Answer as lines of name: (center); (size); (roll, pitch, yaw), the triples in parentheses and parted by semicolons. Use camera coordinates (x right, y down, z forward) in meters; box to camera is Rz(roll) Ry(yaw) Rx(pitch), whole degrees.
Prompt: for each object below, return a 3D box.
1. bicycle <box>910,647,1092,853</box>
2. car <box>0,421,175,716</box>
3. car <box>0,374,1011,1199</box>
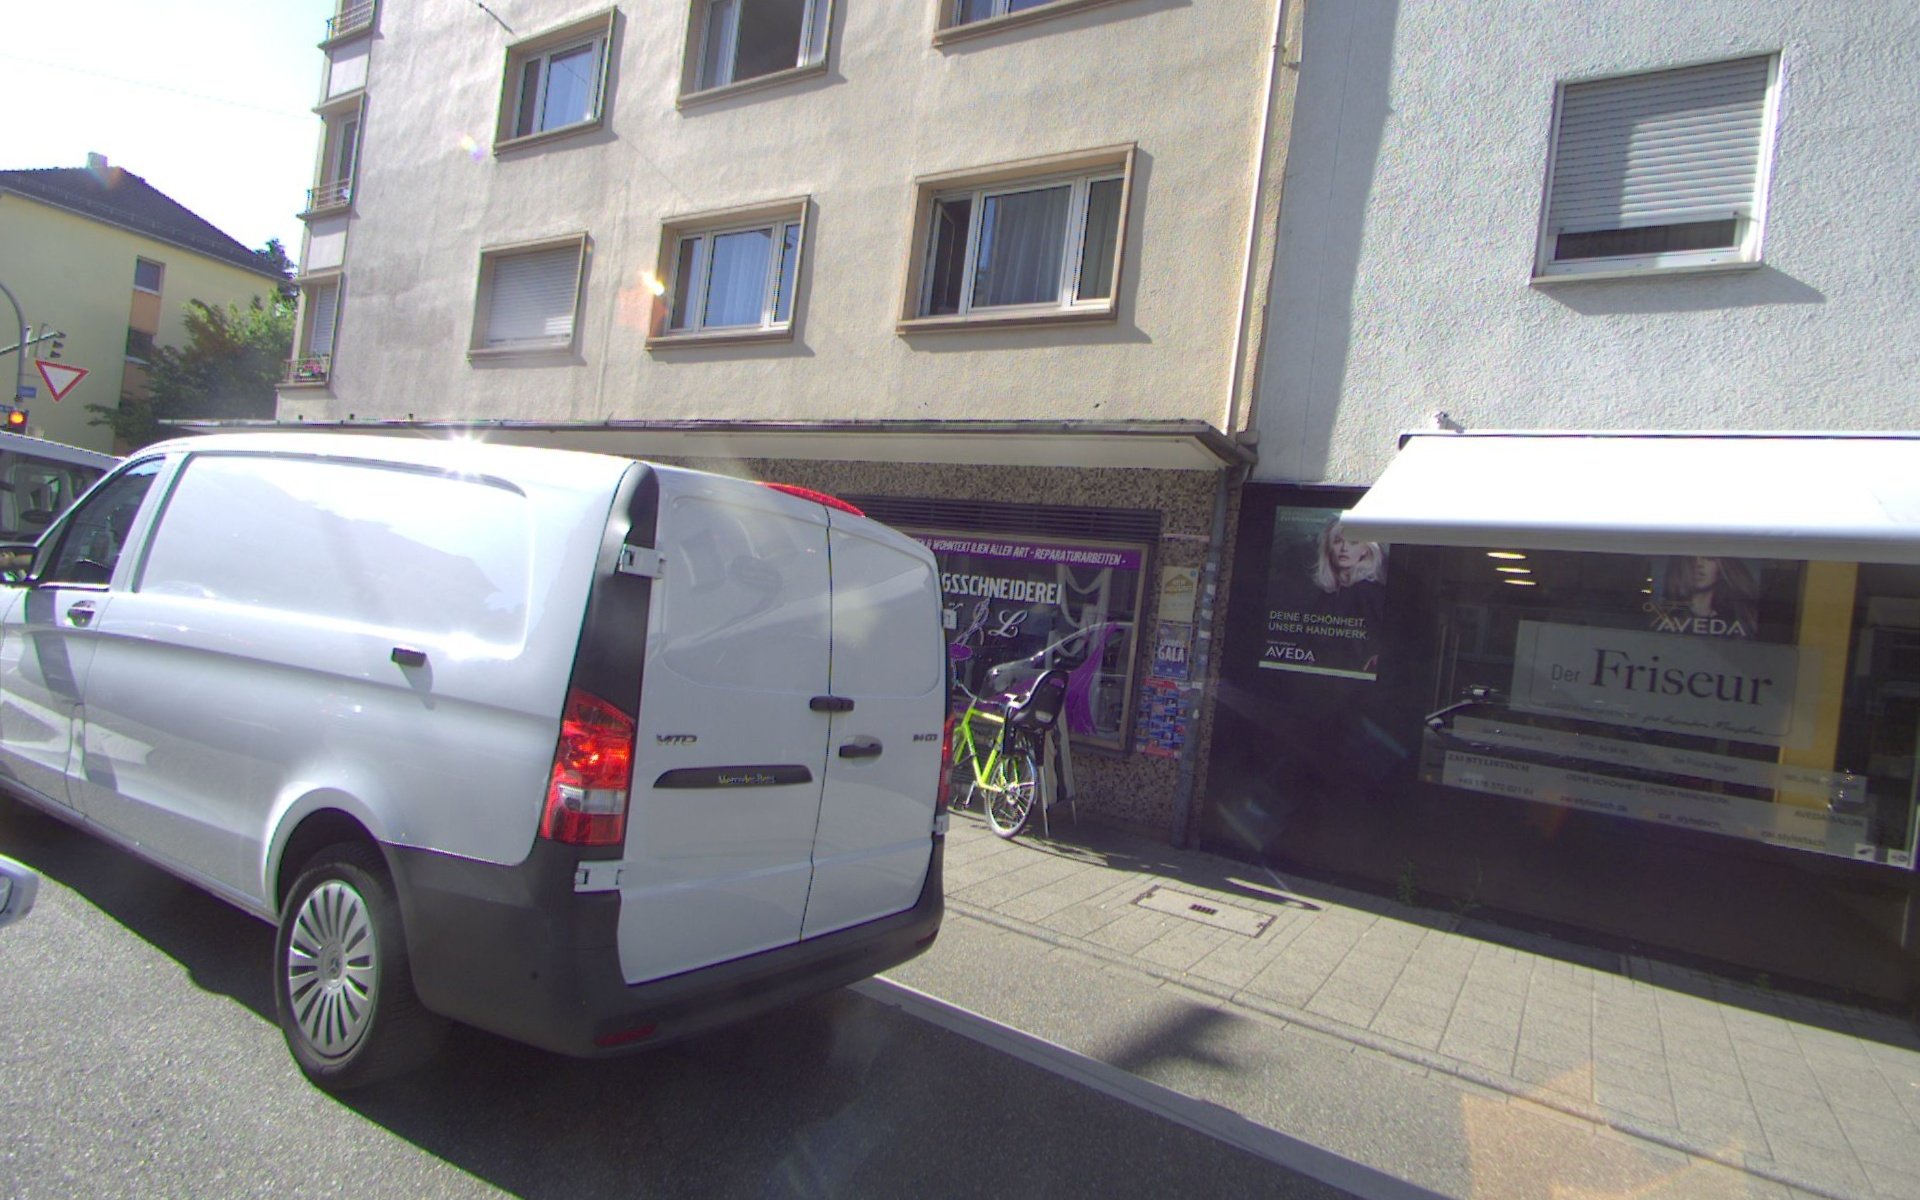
bicycle: (0.260, 1.098, 7.842); (0.434, 1.266, 1.746); (5, 1, -30)
car: (-8.581, -0.447, 8.104); (4.816, 2.002, 1.996); (7, -1, 34)
car: (-2.468, 0.282, 4.294); (4.913, 1.891, 1.839); (7, -1, 32)
